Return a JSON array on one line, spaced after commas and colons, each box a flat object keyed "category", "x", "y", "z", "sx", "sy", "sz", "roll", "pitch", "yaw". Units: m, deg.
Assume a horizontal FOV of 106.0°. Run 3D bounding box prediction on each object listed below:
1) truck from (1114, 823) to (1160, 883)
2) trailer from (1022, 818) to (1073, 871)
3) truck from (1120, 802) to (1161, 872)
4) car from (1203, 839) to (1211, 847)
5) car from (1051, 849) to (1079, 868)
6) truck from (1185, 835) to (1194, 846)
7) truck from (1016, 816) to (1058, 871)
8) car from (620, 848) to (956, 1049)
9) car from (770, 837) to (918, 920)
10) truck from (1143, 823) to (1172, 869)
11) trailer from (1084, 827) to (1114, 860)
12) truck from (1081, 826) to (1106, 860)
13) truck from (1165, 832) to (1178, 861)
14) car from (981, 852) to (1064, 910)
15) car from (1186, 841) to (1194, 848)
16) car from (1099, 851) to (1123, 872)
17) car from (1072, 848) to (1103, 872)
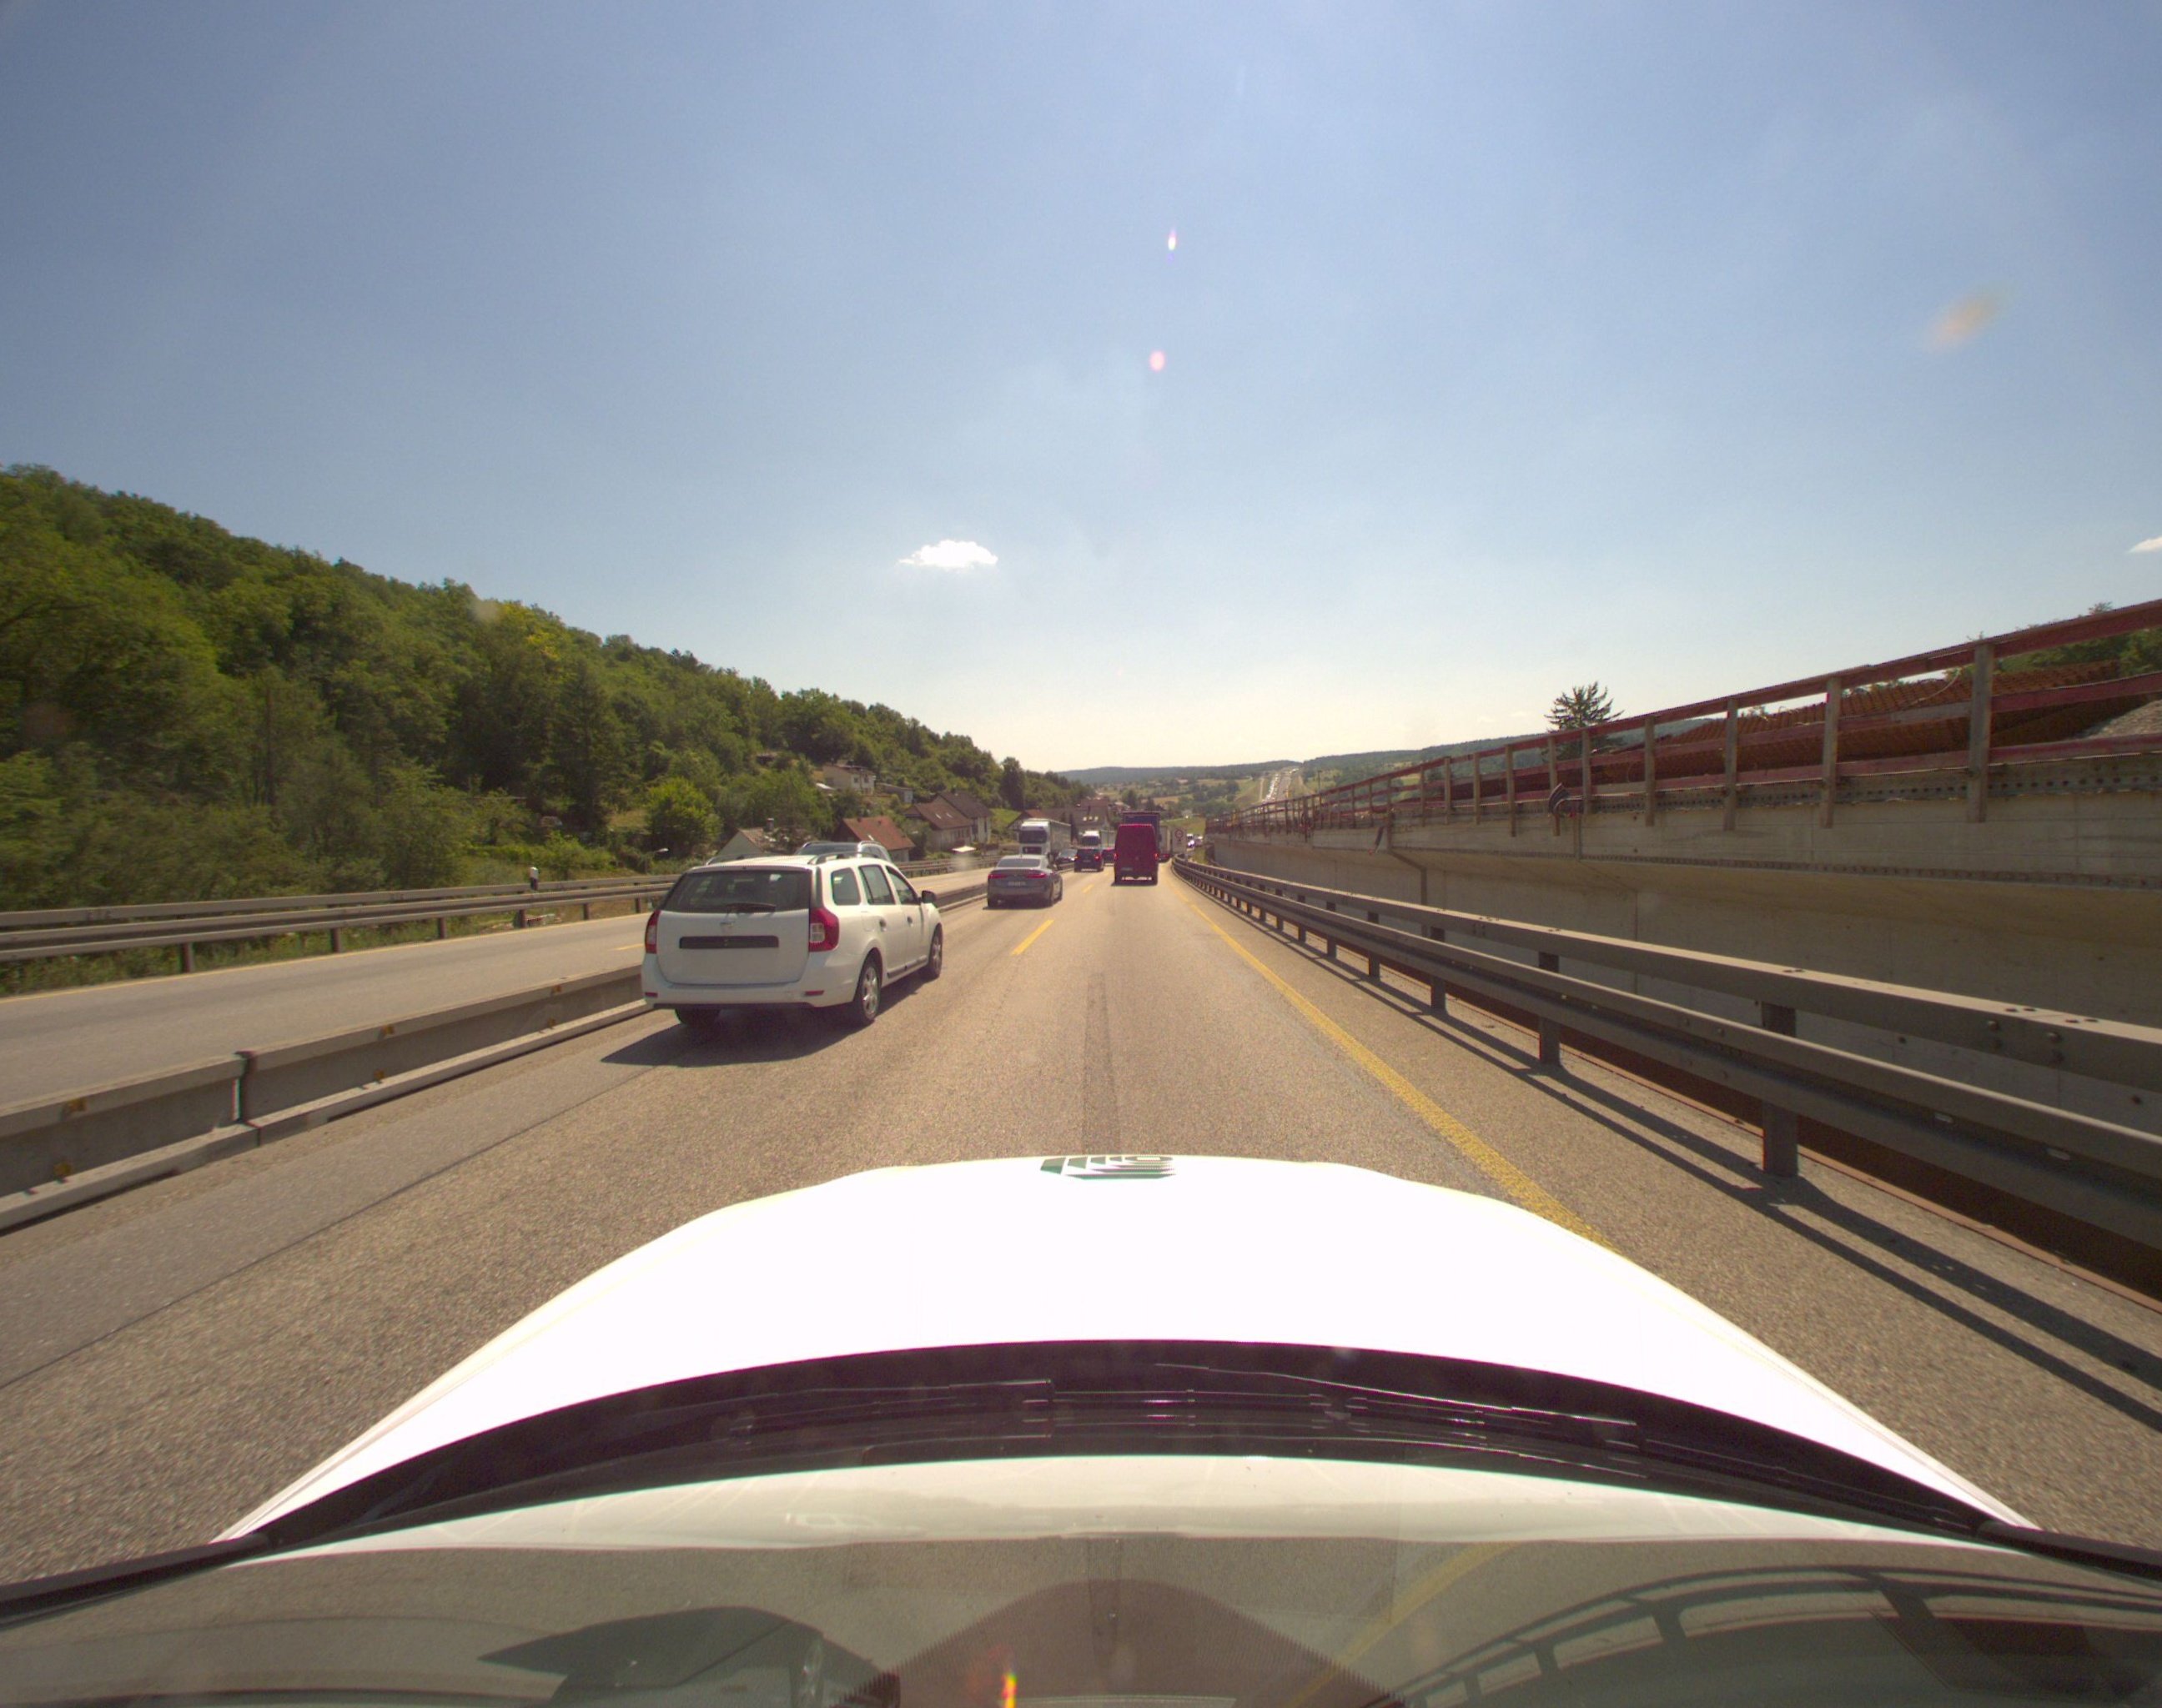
[{"category": "truck", "x": 2.597, "y": -0.027, "z": 37.342, "sx": 1.984, "sy": 2.578, "sz": 4.005, "roll": 0, "pitch": -1, "yaw": 4}, {"category": "trailer", "x": -3.149, "y": -0.821, "z": 81.766, "sx": 3.049, "sy": 4.815, "sz": 14.026, "roll": 0, "pitch": -1, "yaw": 6}, {"category": "truck", "x": 4.361, "y": -1.108, "z": 60.673, "sx": 2.774, "sy": 4.816, "sz": 9.692, "roll": 0, "pitch": -1, "yaw": 3}, {"category": "car", "x": 34.561, "y": -2.957, "z": 222.904, "sx": 2.118, "sy": 2.014, "sz": 4.012, "roll": 0, "pitch": -1, "yaw": 11}, {"category": "car", "x": -1.342, "y": 0.397, "z": 70.608, "sx": 1.985, "sy": 1.640, "sz": 4.859, "roll": 0, "pitch": -1, "yaw": 4}, {"category": "truck", "x": 15.746, "y": -1.901, "z": 118.195, "sx": 1.307, "sy": 1.542, "sz": 3.157, "roll": 0, "pitch": -1, "yaw": 7}, {"category": "truck", "x": -3.965, "y": -0.930, "z": 74.283, "sx": 3.044, "sy": 4.821, "sz": 4.654, "roll": 0, "pitch": -1, "yaw": 7}, {"category": "car", "x": -2.591, "y": 0.745, "z": 8.394, "sx": 1.644, "sy": 1.483, "sz": 4.270, "roll": -2, "pitch": -1, "yaw": 3}, {"category": "car", "x": -5.387, "y": 0.502, "z": 19.209, "sx": 1.904, "sy": 1.705, "sz": 4.739, "roll": 0, "pitch": 0, "yaw": 3}, {"category": "truck", "x": 8.516, "y": -0.785, "z": 91.357, "sx": 2.774, "sy": 4.816, "sz": 9.692, "roll": 0, "pitch": -1, "yaw": 3}, {"category": "trailer", "x": 2.842, "y": -1.455, "z": 122.547, "sx": 2.817, "sy": 4.641, "sz": 14.614, "roll": 0, "pitch": -1, "yaw": 8}, {"category": "truck", "x": 1.793, "y": -1.494, "z": 115.718, "sx": 2.830, "sy": 4.580, "sz": 5.800, "roll": 0, "pitch": -1, "yaw": 8}, {"category": "truck", "x": 13.642, "y": -1.070, "z": 122.634, "sx": 1.983, "sy": 4.381, "sz": 4.008, "roll": 0, "pitch": -1, "yaw": 7}, {"category": "car", "x": -1.583, "y": 0.701, "z": 23.352, "sx": 1.787, "sy": 1.485, "sz": 4.054, "roll": -1, "pitch": 0, "yaw": 4}, {"category": "car", "x": 28.388, "y": -2.471, "z": 211.624, "sx": 1.792, "sy": 2.013, "sz": 4.013, "roll": 0, "pitch": 0, "yaw": 11}, {"category": "car", "x": 2.726, "y": 0.667, "z": 73.025, "sx": 1.719, "sy": 1.838, "sz": 4.010, "roll": 0, "pitch": 0, "yaw": 9}, {"category": "car", "x": 0.501, "y": 0.414, "z": 55.126, "sx": 1.802, "sy": 1.608, "sz": 3.724, "roll": 0, "pitch": -1, "yaw": 5}]
